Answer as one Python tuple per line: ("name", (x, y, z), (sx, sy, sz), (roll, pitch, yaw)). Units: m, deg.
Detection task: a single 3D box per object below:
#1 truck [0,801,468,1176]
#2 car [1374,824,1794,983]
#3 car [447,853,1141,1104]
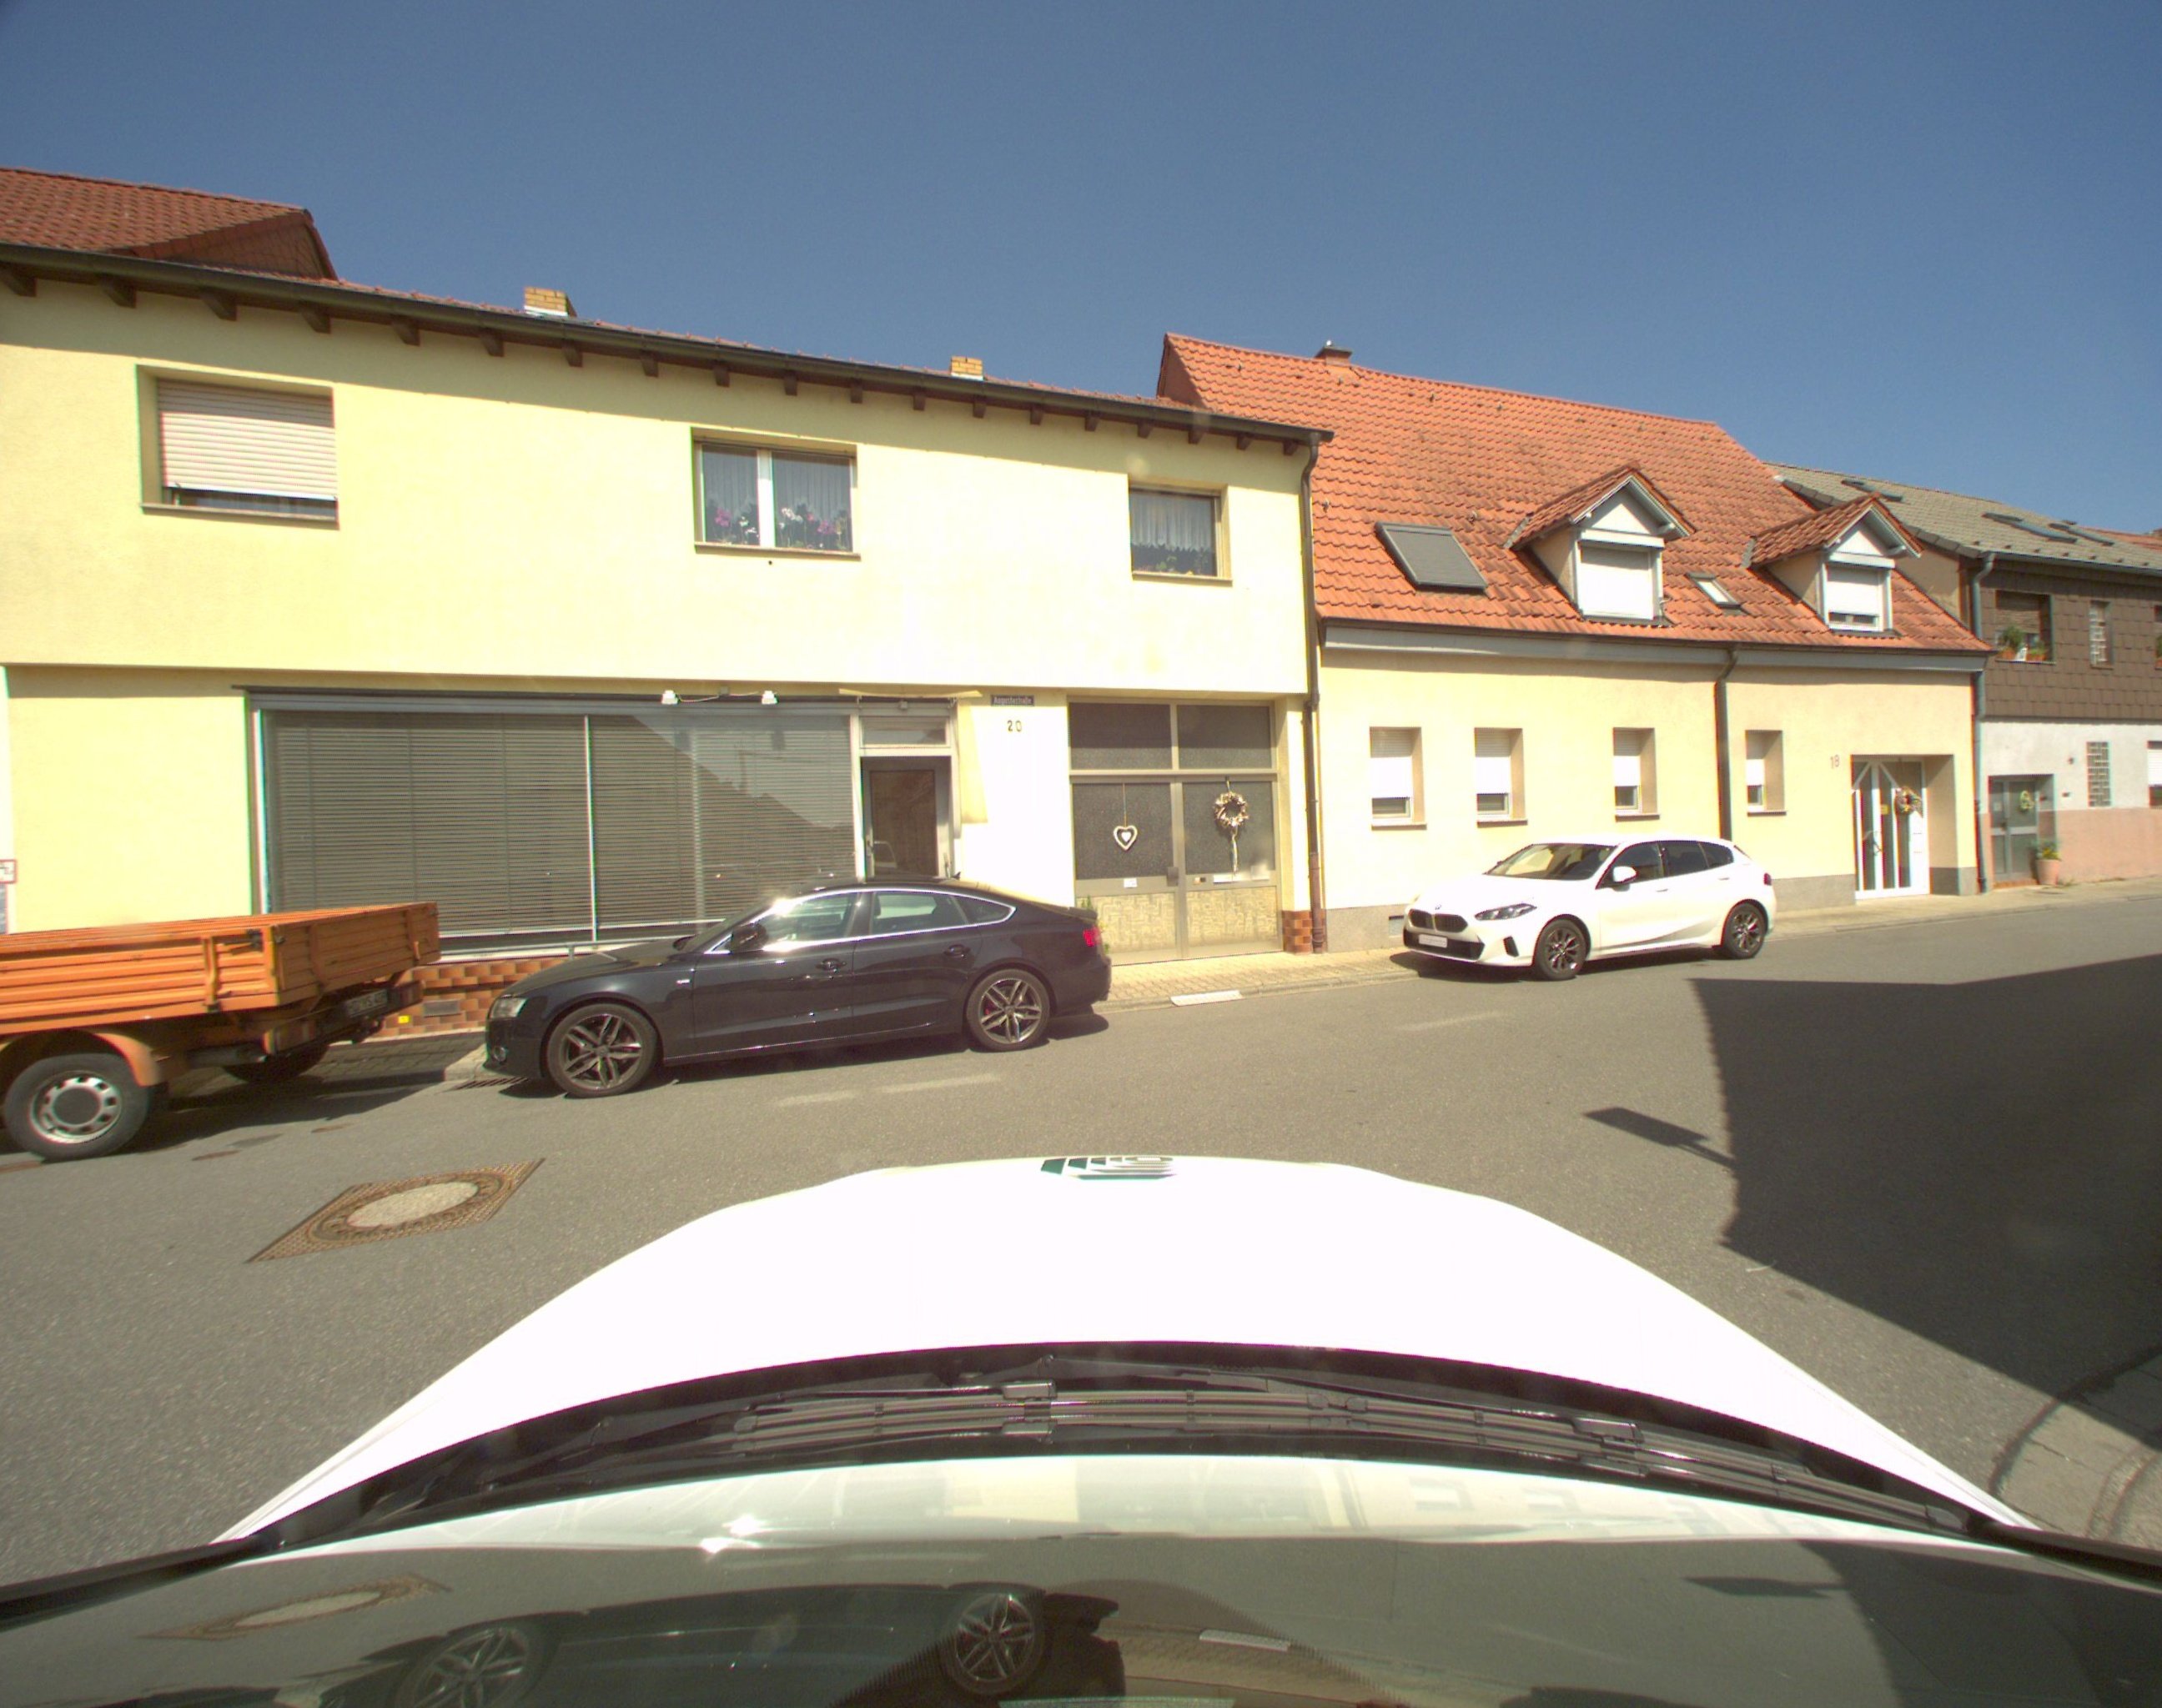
("truck", (-7.368, 0.801, 5.128), (5.075, 2.013, 2.177), (-2, 0, -17))
("car", (5.785, 0.474, 9.469), (4.211, 1.454, 1.778), (-2, 0, -16))
("car", (-2.035, 0.828, 6.727), (4.629, 1.394, 1.916), (-2, -3, -18))
